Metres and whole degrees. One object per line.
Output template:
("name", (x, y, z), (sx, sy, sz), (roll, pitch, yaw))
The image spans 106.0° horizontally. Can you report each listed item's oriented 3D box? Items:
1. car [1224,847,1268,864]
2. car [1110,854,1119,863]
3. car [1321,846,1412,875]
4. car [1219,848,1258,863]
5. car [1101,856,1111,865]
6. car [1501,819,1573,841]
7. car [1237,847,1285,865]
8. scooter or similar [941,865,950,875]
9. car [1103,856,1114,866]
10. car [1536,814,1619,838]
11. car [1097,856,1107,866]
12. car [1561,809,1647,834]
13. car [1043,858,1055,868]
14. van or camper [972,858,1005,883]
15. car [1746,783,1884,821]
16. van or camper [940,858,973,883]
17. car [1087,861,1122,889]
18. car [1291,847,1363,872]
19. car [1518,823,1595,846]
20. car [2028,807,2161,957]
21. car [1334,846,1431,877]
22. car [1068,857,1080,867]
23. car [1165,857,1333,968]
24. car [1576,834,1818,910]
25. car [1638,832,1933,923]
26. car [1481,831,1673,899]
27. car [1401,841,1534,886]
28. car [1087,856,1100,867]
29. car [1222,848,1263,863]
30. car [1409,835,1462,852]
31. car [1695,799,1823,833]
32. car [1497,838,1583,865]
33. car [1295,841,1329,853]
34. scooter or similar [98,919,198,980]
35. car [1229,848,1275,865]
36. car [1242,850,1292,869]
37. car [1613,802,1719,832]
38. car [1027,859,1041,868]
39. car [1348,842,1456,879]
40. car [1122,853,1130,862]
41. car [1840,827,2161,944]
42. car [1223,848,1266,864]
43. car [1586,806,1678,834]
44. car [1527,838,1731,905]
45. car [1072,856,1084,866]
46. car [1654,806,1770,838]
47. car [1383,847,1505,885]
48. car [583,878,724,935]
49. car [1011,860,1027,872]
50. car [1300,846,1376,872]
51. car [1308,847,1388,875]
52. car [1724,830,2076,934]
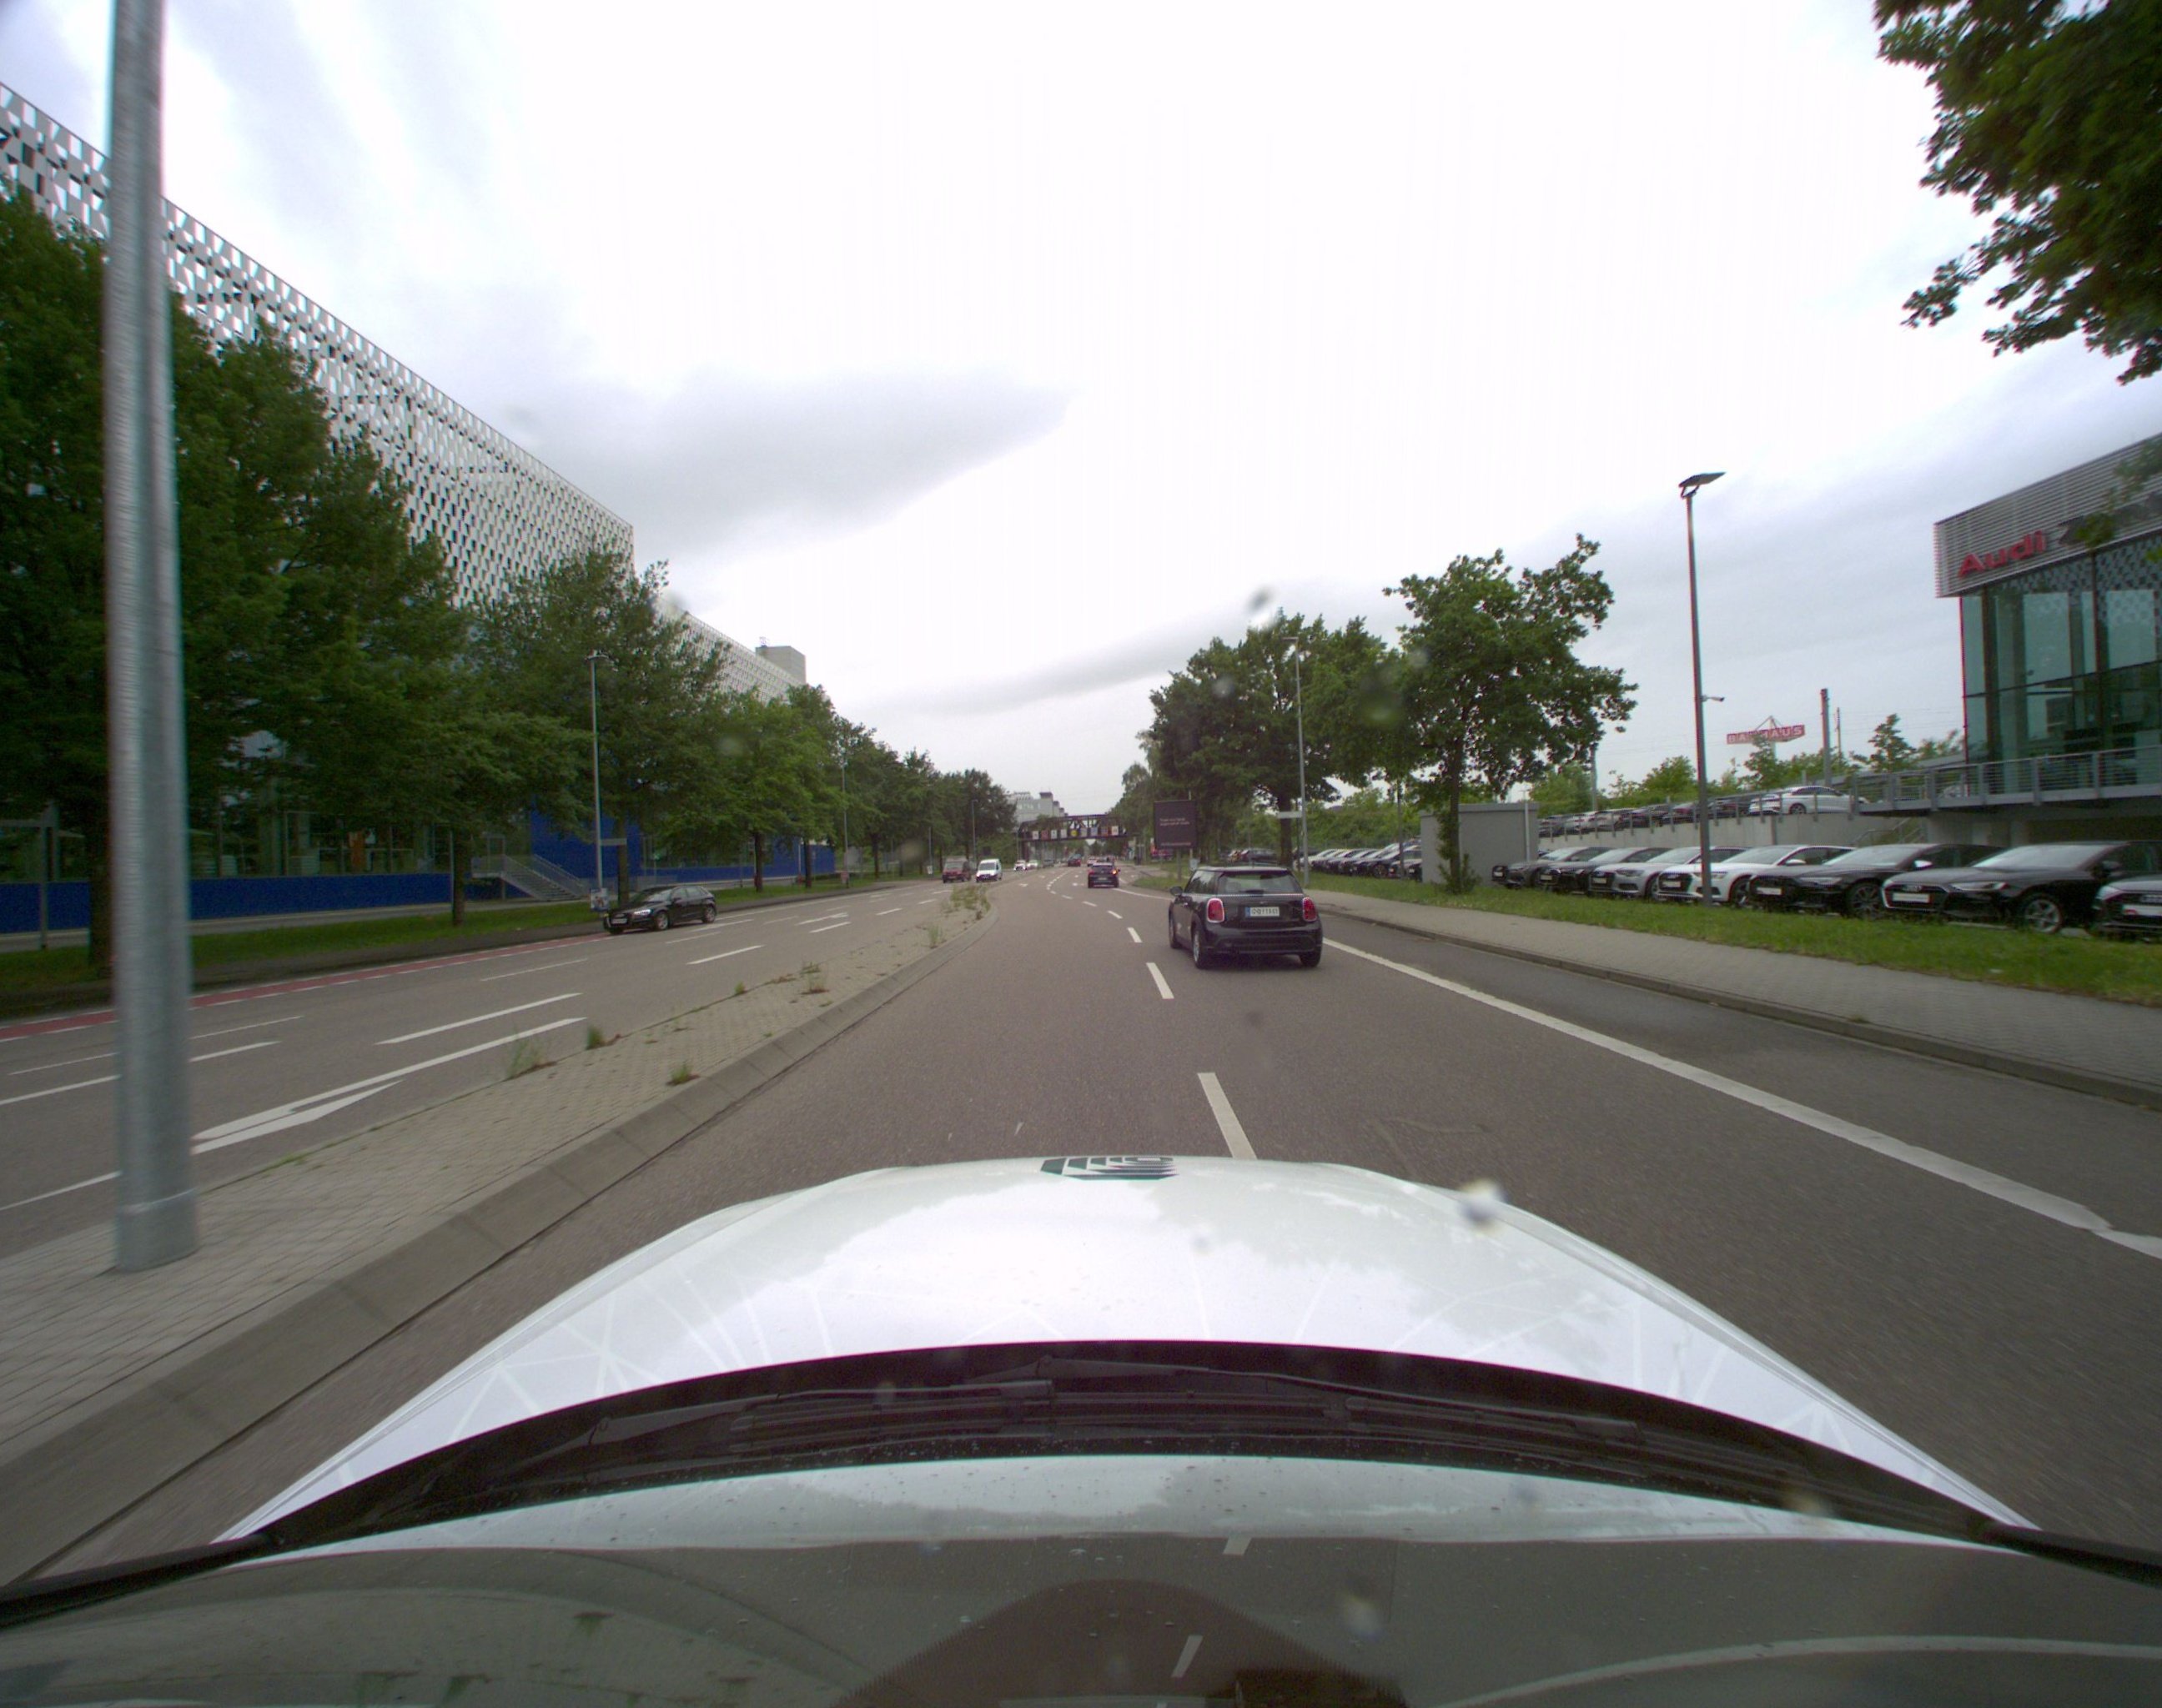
("car", (15.390, 0.142, 76.158), (3.965, 1.435, 1.734), (-1, 1, 8))
("car", (7.944, 1.077, 193.339), (1.941, 1.815, 4.005), (-1, 2, 4))
("car", (15.583, 0.365, 44.548), (4.328, 1.488, 1.843), (-1, 0, 1))
("car", (16.498, 0.174, 85.396), (3.965, 1.435, 1.734), (-1, 1, 8))
("car", (5.560, 1.406, 180.730), (1.876, 1.661, 3.787), (-1, 2, 4))
("car", (31.509, -1.668, 56.321), (4.072, 1.435, 1.730), (-1, 1, 0))
("car", (15.618, 0.139, 70.775), (3.965, 1.435, 1.734), (-1, 1, 8))
("scooter or similar", (-16.420, 1.911, 98.774), (0.759, 1.089, 2.007), (-1, 2, 1))
("car", (5.021, 1.249, 148.854), (1.876, 1.661, 3.787), (-1, 2, 4))
("car", (31.171, -1.758, 51.232), (4.072, 1.435, 1.947), (-1, 1, 0))
("car", (4.466, 1.452, 170.183), (1.941, 1.815, 4.005), (-1, 2, 4))
("car", (31.200, -1.940, 48.686), (4.072, 1.435, 1.730), (-1, 1, 0))
("car", (-5.934, 1.727, 151.527), (1.931, 1.676, 3.787), (-1, 2, 4))
("van or camper", (-7.357, 1.301, 65.308), (1.748, 1.747, 4.411), (-5, 0, 3))
("car", (31.759, -2.237, 35.316), (4.321, 1.496, 1.882), (-1, 1, 0))
("van or camper", (-10.709, 1.398, 70.439), (1.868, 1.986, 4.891), (-3, 0, 1))
("car", (1.379, 1.178, 47.097), (1.749, 1.434, 4.005), (-2, 1, 5))
("car", (15.634, 0.328, 51.894), (4.072, 1.435, 1.730), (-1, 1, 0))
("car", (31.174, -1.295, 53.492), (4.072, 1.435, 1.730), (-1, 1, 0))
("car", (14.121, 0.412, 9.273), (4.159, 1.662, 2.002), (3, 2, 2))
("car", (15.542, 0.381, 42.180), (4.328, 1.503, 1.930), (1, 0, 1))
("car", (-1.242, 1.404, 145.635), (1.876, 1.661, 3.787), (-1, 2, 4))
("car", (2.359, 0.788, 12.346), (1.780, 1.416, 3.642), (-1, -1, 0))
("car", (14.830, 0.408, 19.833), (4.277, 1.504, 2.030), (3, 0, 2))
("car", (14.737, 0.447, 17.257), (4.376, 1.520, 2.002), (4, 2, 2))
("car", (14.999, 0.282, 24.845), (4.532, 1.702, 2.002), (4, 2, 2))
("car", (15.082, 0.378, 31.960), (4.242, 1.565, 2.001), (2, -1, 2))
("car", (2.170, 1.312, 140.499), (2.126, 1.661, 3.786), (-1, 2, 4))
("car", (16.084, 0.168, 81.188), (3.965, 1.435, 1.734), (-1, 1, 8))
("car", (32.095, -0.987, 73.710), (4.072, 1.435, 1.730), (-1, 1, 0))
("car", (31.703, -1.758, 38.184), (4.321, 1.496, 2.069), (-1, 1, 0))
("car", (26.682, -0.170, 47.455), (4.072, 1.435, 1.730), (-1, 1, 0))
("car", (28.601, -0.872, 100.922), (3.965, 1.435, 1.734), (-1, 1, 8))
("scooter or similar", (-20.993, 2.121, 18.367), (0.653, 1.196, 1.377), (-1, 0, -1))
("car", (15.498, 0.243, 73.799), (3.965, 1.435, 1.734), (-1, 1, 8))
("car", (15.553, 0.443, 68.301), (3.965, 1.435, 1.734), (-1, 1, 8))
("car", (31.114, -1.961, 43.410), (4.321, 1.496, 1.882), (-1, 1, 0))
("car", (-7.528, 1.523, 130.873), (1.712, 1.371, 3.444), (-1, 2, 4))
("car", (15.514, 0.310, 39.533), (4.430, 1.571, 2.000), (-3, 0, 1))
("car", (11.006, 0.837, 197.866), (1.941, 1.815, 4.005), (-1, 2, 4))
("car", (14.227, 0.439, 12.001), (4.159, 1.456, 1.935), (3, 2, 2))
("car", (15.875, 0.213, 79.323), (3.965, 1.435, 1.734), (-1, 1, 8))
("car", (31.103, -1.909, 46.047), (4.072, 1.496, 1.730), (-1, 1, 0))
("car", (14.835, 0.427, 22.245), (4.159, 1.445, 1.961), (4, 2, 2))
("car", (-0.494, 1.328, 152.458), (1.941, 1.815, 4.005), (-1, 2, 4))
("car", (31.565, -1.589, 40.819), (4.321, 1.496, 1.970), (-1, 1, 0))
("car", (15.232, 0.483, 34.381), (4.276, 1.392, 2.001), (2, -1, 2))
("car", (-14.065, 1.677, 27.128), (1.907, 1.502, 4.261), (-4, -1, 8))
("car", (-8.746, 1.655, 115.152), (1.746, 1.446, 3.343), (-1, 2, 4))
("car", (15.586, 0.310, 49.576), (4.072, 1.435, 1.846), (-1, 1, 0))
("car", (15.425, 0.389, 47.171), (4.072, 1.435, 1.822), (-1, 1, 0))
("car", (14.492, 0.438, 14.652), (4.159, 1.469, 2.002), (4, 2, 2))
